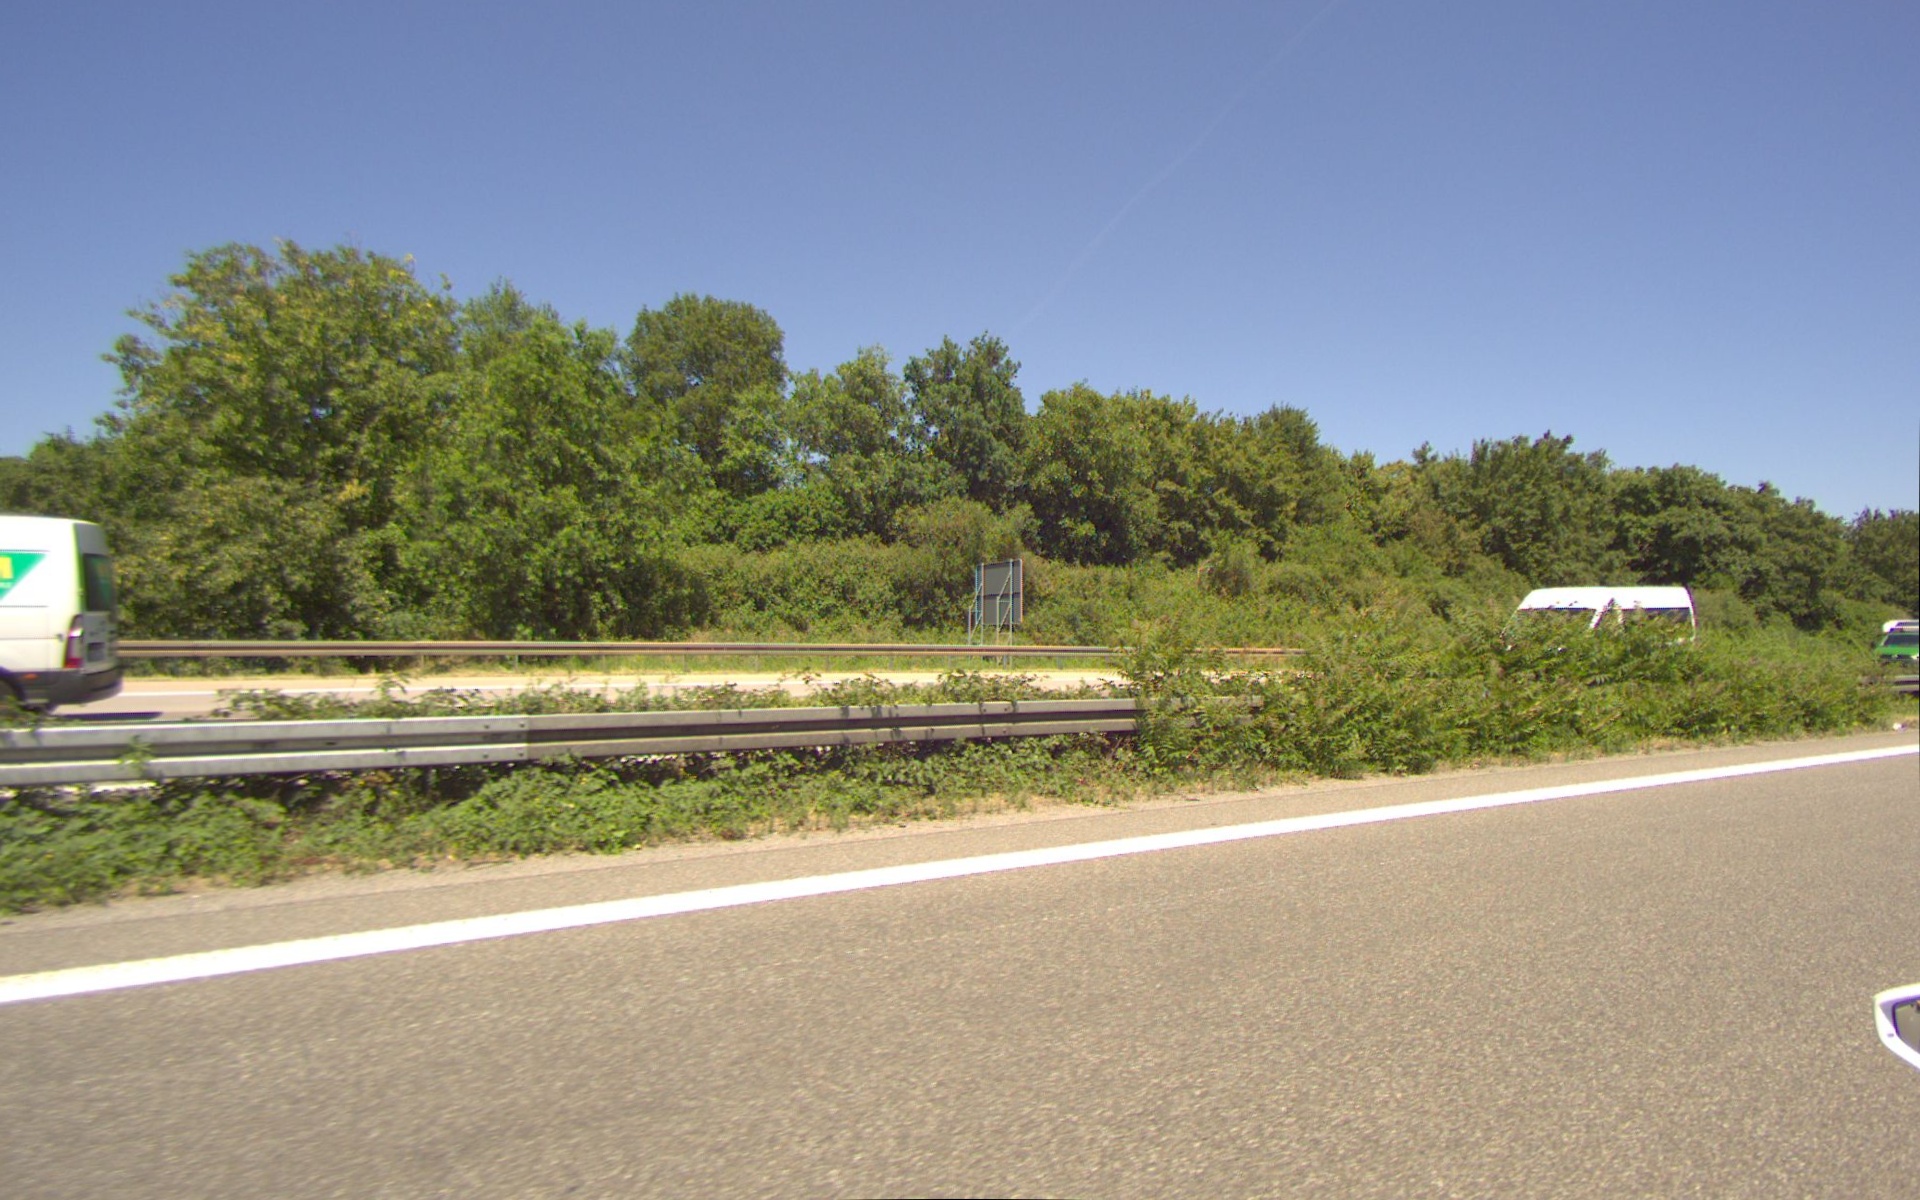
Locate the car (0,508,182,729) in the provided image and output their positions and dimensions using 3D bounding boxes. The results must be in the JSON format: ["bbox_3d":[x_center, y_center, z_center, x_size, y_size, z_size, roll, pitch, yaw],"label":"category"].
[{"bbox_3d":[-12.933,0.178,11.264,6.345,2.473,2.204,2,-1,-31],"label":"car"}]

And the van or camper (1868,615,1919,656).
[{"bbox_3d":[50.801,1.866,52.896,6.284,2.040,2.488,2,-1,-29],"label":"van or camper"}]

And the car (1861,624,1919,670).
[{"bbox_3d":[41.546,2.024,43.734,5.396,1.903,1.984,2,-1,-31],"label":"car"}]

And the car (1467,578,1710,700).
[{"bbox_3d":[14.084,0.854,22.379,6.092,2.432,1.984,1,-1,-30],"label":"car"}]
